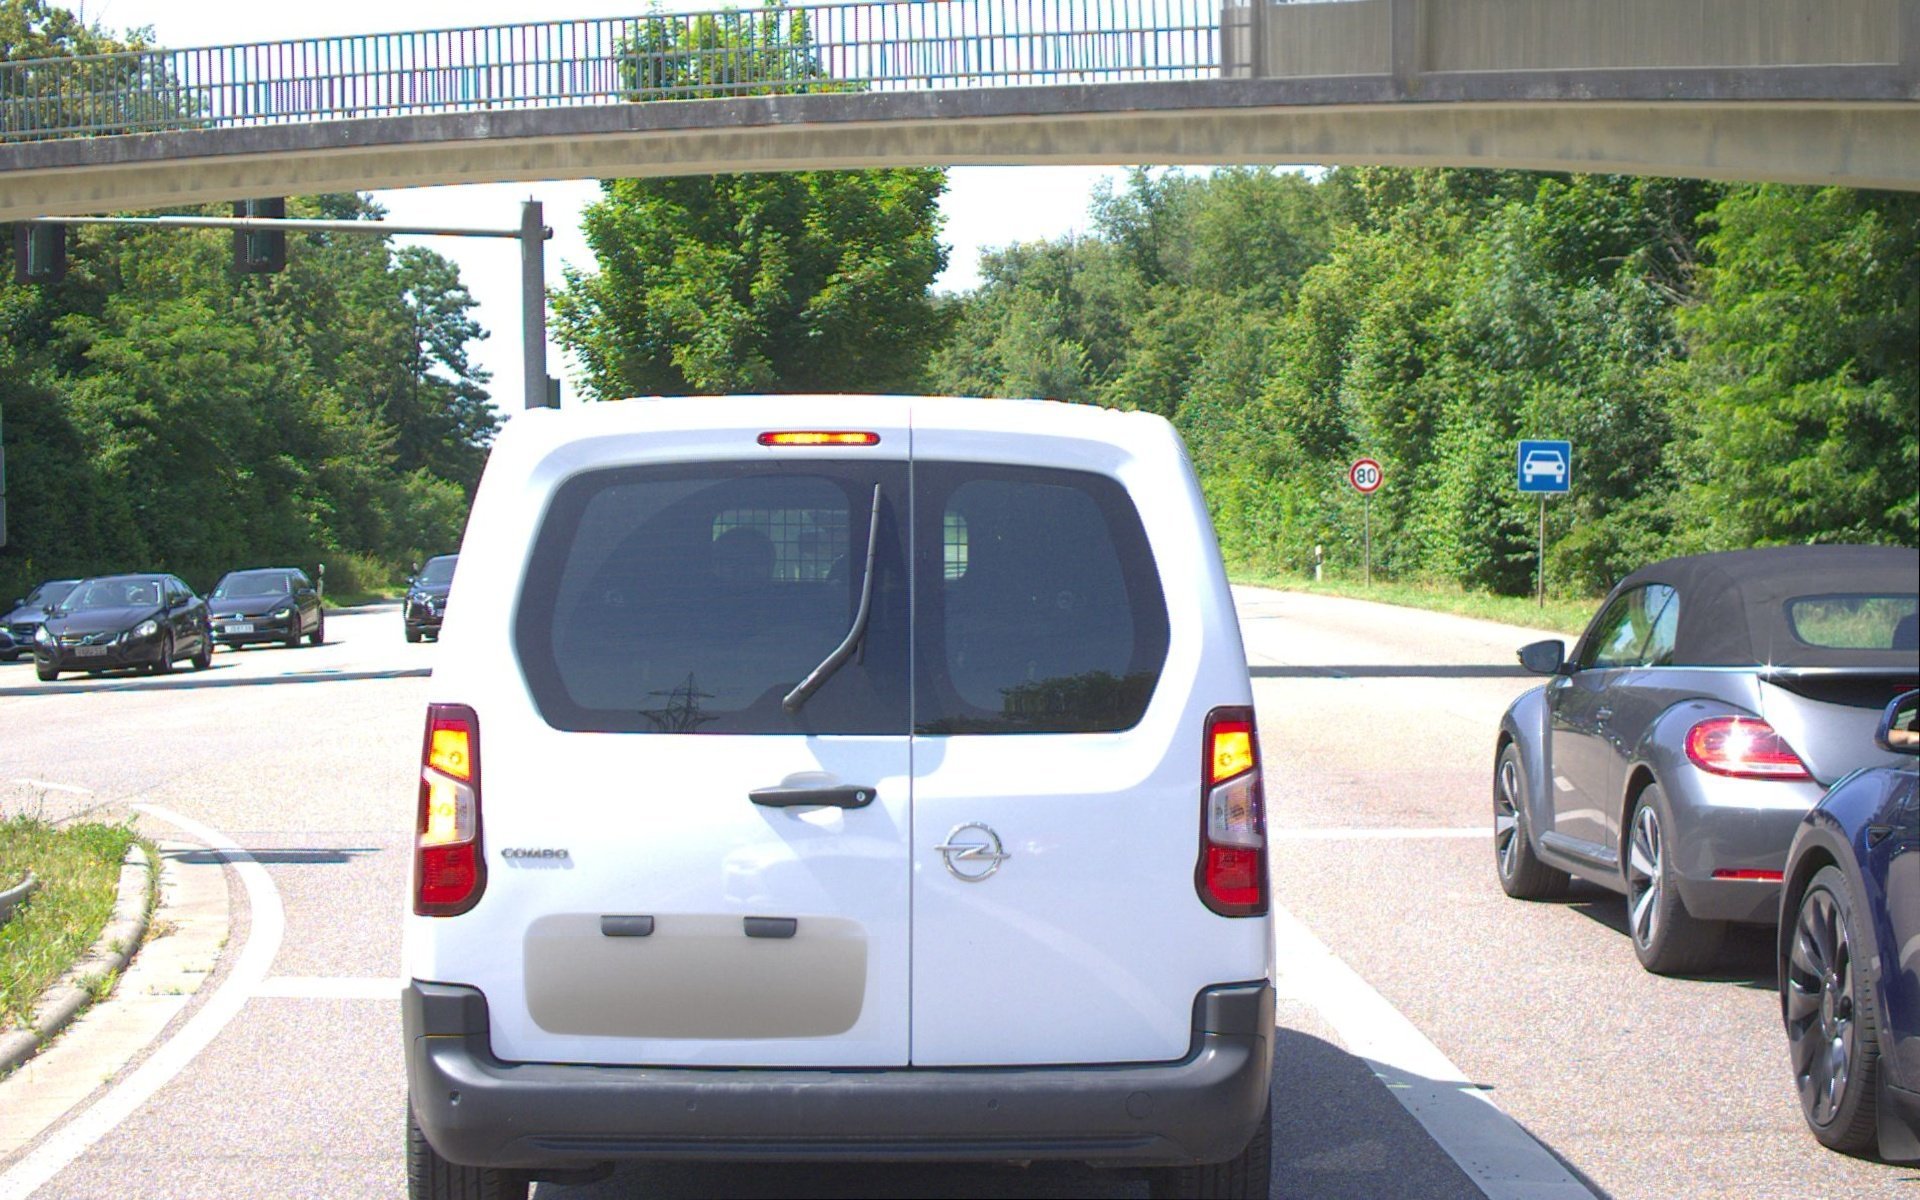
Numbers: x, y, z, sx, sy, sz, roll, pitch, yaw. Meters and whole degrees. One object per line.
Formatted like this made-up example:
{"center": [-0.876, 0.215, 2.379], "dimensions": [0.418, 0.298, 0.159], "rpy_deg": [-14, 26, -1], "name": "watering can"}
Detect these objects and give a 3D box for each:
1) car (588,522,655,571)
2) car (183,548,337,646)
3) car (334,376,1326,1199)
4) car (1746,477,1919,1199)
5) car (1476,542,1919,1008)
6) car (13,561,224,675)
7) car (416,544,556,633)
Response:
{"center": [-11.958, -1.892, 121.772], "dimensions": [1.993, 1.659, 4.000], "rpy_deg": [-1, 1, -1], "name": "car"}
{"center": [-12.672, -0.087, 62.462], "dimensions": [1.993, 1.659, 4.000], "rpy_deg": [-1, 1, -1], "name": "car"}
{"center": [-0.299, 0.440, 8.457], "dimensions": [1.849, 1.819, 3.982], "rpy_deg": [1, 2, -2], "name": "car"}
{"center": [3.058, 0.576, 6.796], "dimensions": [1.900, 1.639, 4.520], "rpy_deg": [1, 1, -1], "name": "car"}
{"center": [3.228, 0.536, 12.999], "dimensions": [1.900, 1.472, 3.939], "rpy_deg": [1, 1, -1], "name": "car"}
{"center": [-11.939, 0.227, 49.024], "dimensions": [2.008, 1.455, 4.055], "rpy_deg": [-2, 1, -1], "name": "car"}
{"center": [-8.560, -0.230, 62.405], "dimensions": [1.993, 1.518, 4.028], "rpy_deg": [2, 1, -1], "name": "car"}
